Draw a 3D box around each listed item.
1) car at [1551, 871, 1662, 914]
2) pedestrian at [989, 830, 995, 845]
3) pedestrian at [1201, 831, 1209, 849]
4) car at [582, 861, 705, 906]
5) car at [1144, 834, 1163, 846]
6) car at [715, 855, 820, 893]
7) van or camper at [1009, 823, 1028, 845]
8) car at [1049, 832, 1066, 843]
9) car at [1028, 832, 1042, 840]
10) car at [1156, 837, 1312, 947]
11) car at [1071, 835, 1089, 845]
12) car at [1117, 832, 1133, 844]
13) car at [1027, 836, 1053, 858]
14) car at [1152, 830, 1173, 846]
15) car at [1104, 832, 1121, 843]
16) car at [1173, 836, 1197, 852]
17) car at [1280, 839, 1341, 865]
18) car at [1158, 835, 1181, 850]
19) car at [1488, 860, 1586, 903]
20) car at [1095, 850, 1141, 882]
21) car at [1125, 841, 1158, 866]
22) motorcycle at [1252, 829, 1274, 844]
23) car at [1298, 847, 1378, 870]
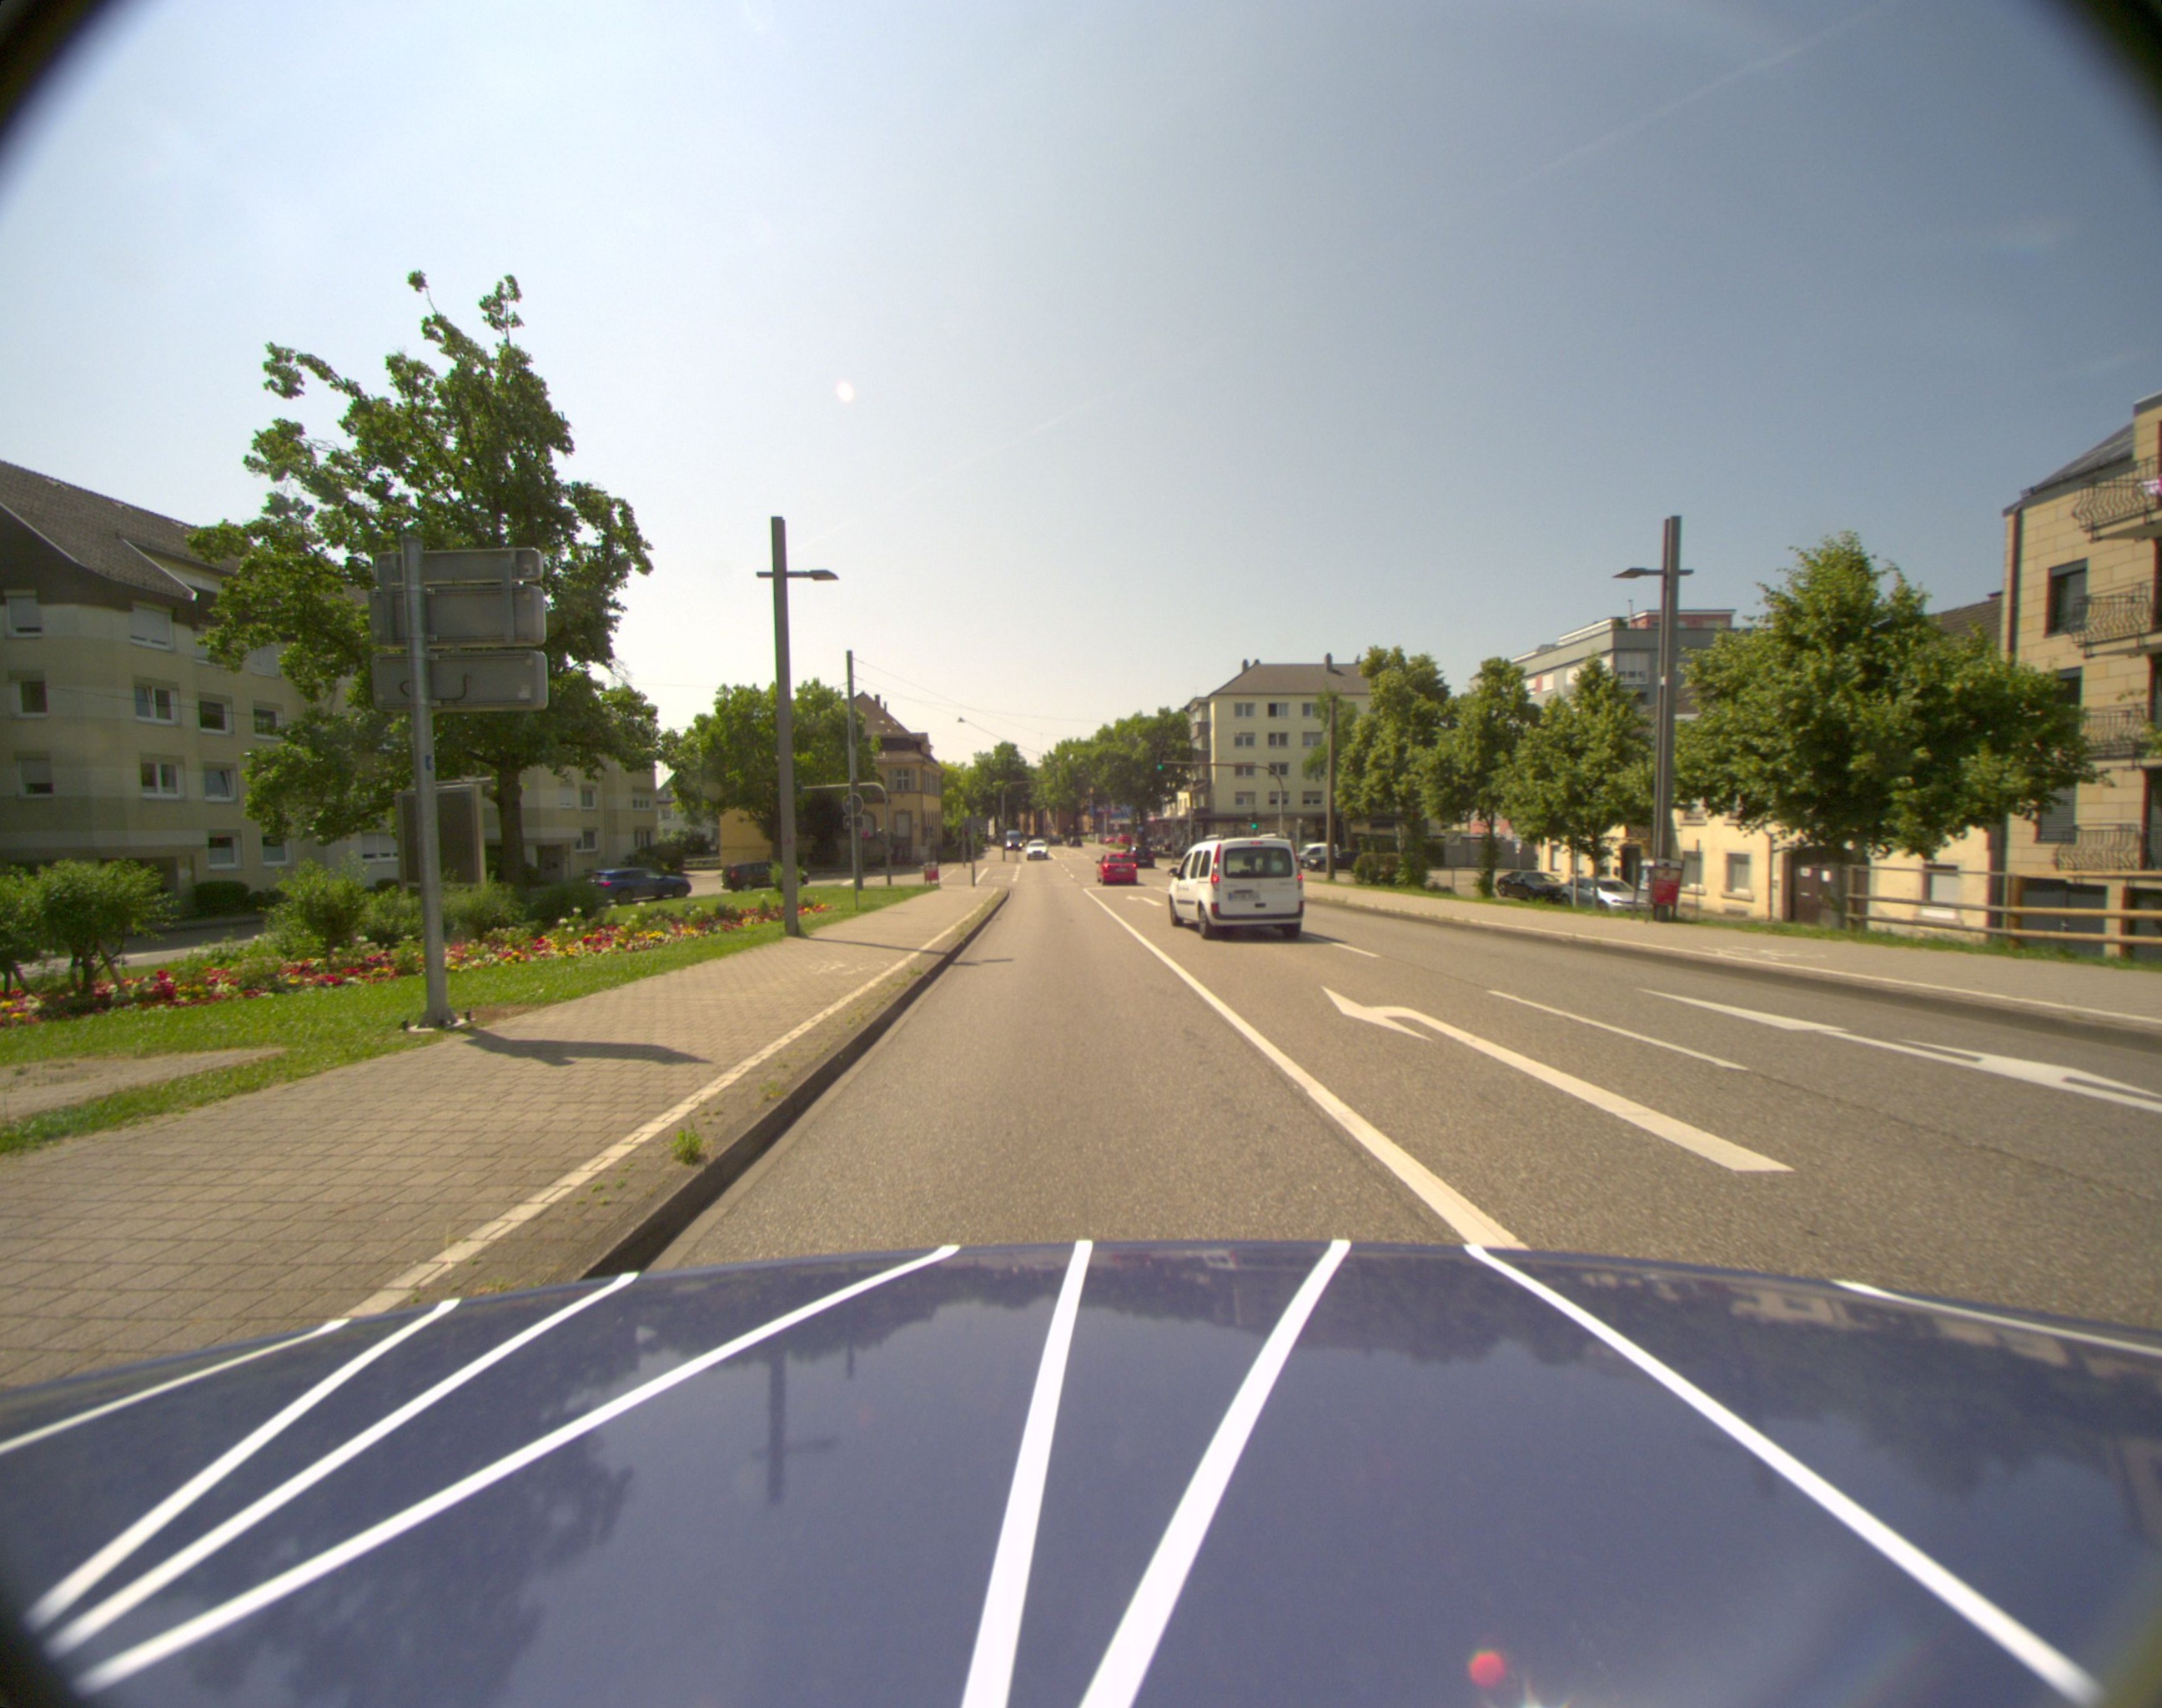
[{"bbox_3d":[21.876,1.535,31.873,1.780,1.424,4.429,-2,1,4],"label":"car"},{"bbox_3d":[-10.934,-2.024,93.143,0.621,1.908,0.743,-1,3,-4],"label":"pedestrian"},{"bbox_3d":[12.161,-1.392,74.567,0.629,1.750,0.742,-1,3,-4],"label":"pedestrian"},{"bbox_3d":[-21.091,1.373,36.890,1.995,1.692,4.775,1,4,26],"label":"car"},{"bbox_3d":[9.067,-1.763,94.822,1.704,1.280,3.858,-2,3,-4],"label":"car"},{"bbox_3d":[-16.975,1.044,41.364,1.912,1.623,4.827,2,5,44],"label":"car"},{"bbox_3d":[-7.813,-2.527,95.274,2.165,2.568,5.840,-2,3,-4],"label":"van or camper"},{"bbox_3d":[-3.741,-2.615,119.508,1.762,1.552,4.311,1,2,-13],"label":"car"},{"bbox_3d":[-8.413,-3.304,139.091,1.622,1.447,3.703,2,1,-17],"label":"car"},{"bbox_3d":[2.839,0.644,15.219,1.842,1.849,4.661,0,0,-5],"label":"car"},{"bbox_3d":[-0.199,-1.888,101.616,1.842,1.391,4.045,0,1,-9],"label":"car"},{"bbox_3d":[5.808,-2.124,101.116,1.639,1.460,3.631,-1,3,-3],"label":"car"},{"bbox_3d":[-3.679,-0.682,67.384,1.999,1.740,4.441,-2,3,-6],"label":"car"},{"bbox_3d":[9.558,-1.890,89.325,1.643,1.829,3.856,-2,2,-4],"label":"car"},{"bbox_3d":[4.627,-2.428,111.800,1.914,1.511,4.329,-1,2,-7],"label":"car"},{"bbox_3d":[10.341,-1.010,75.543,1.587,1.451,3.936,-1,3,-4],"label":"car"},{"bbox_3d":[16.520,-0.145,54.738,3.697,1.726,1.892,1,3,-6],"label":"car"},{"bbox_3d":[9.697,-1.296,83.462,1.626,1.560,4.835,-1,3,-4],"label":"car"},{"bbox_3d":[22.142,1.263,37.204,1.819,1.619,5.285,2,3,4],"label":"car"},{"bbox_3d":[1.714,0.539,36.449,1.652,1.455,3.859,0,0,-6],"label":"car"},{"bbox_3d":[4.112,-0.077,51.923,1.719,1.477,4.028,-2,3,-3],"label":"car"},{"bbox_3d":[17.454,-1.689,72.875,1.920,1.413,0.713,-2,5,-3],"label":"motorcycle"},{"bbox_3d":[17.355,0.302,51.364,4.619,1.393,2.114,1,2,-8],"label":"car"}]
